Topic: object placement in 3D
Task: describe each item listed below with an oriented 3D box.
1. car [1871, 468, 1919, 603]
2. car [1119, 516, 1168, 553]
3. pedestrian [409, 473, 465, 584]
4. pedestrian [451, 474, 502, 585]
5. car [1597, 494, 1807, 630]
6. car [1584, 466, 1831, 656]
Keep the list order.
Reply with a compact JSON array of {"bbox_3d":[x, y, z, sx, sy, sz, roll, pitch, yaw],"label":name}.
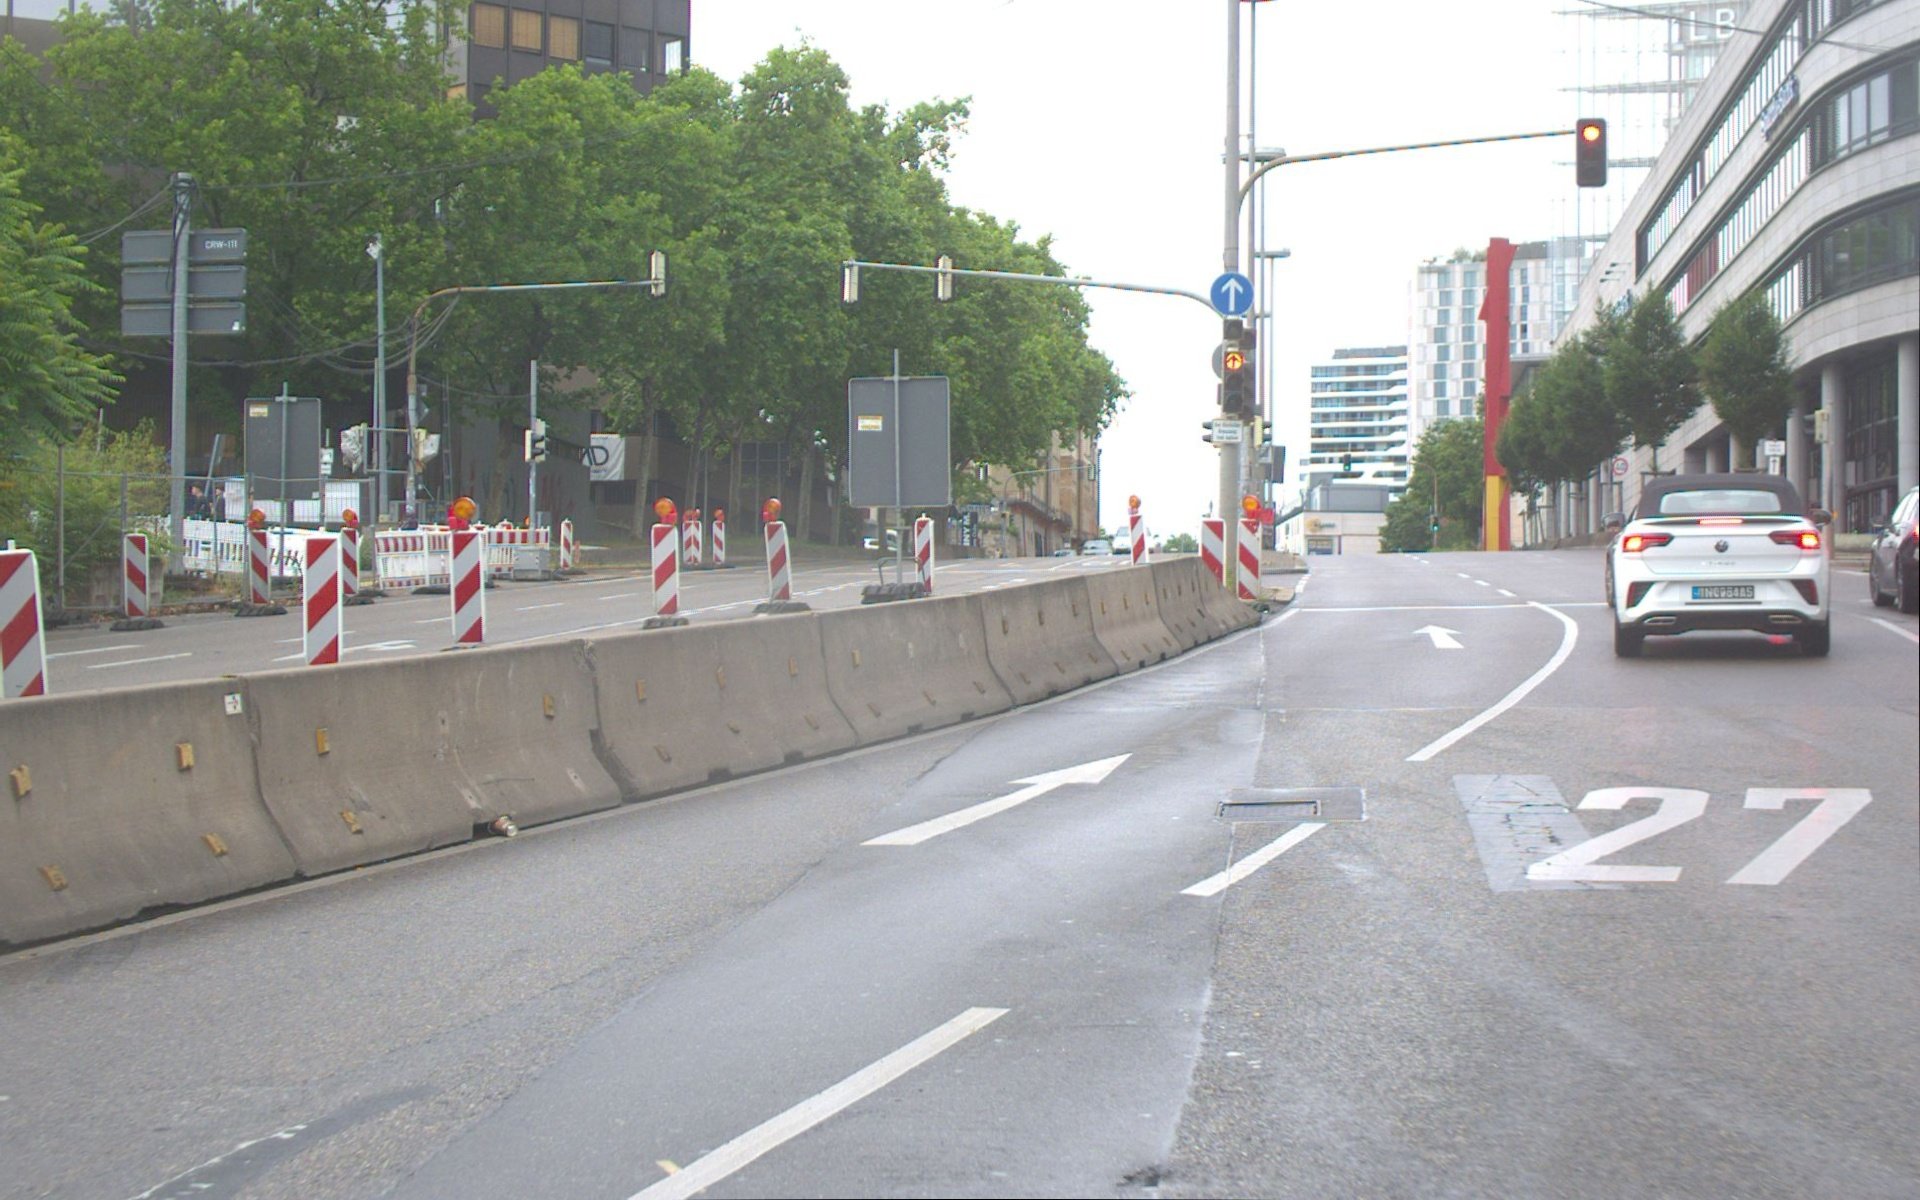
[{"bbox_3d":[11.125,-0.655,37.762,1.755,1.402,4.226,2,0,10],"label":"car"},{"bbox_3d":[7.488,-2.675,140.267,1.761,1.455,4.359,-1,1,6],"label":"car"},{"bbox_3d":[-9.156,-1.248,60.179,0.761,1.916,0.742,0,-1,9],"label":"pedestrian"},{"bbox_3d":[-8.431,-1.227,60.002,0.672,1.895,0.775,0,-1,9],"label":"pedestrian"},{"bbox_3d":[8.257,-0.442,38.540,1.740,1.438,4.000,0,1,4],"label":"car"},{"bbox_3d":[6.505,-0.369,30.108,1.965,1.543,4.217,0,1,11],"label":"car"}]
